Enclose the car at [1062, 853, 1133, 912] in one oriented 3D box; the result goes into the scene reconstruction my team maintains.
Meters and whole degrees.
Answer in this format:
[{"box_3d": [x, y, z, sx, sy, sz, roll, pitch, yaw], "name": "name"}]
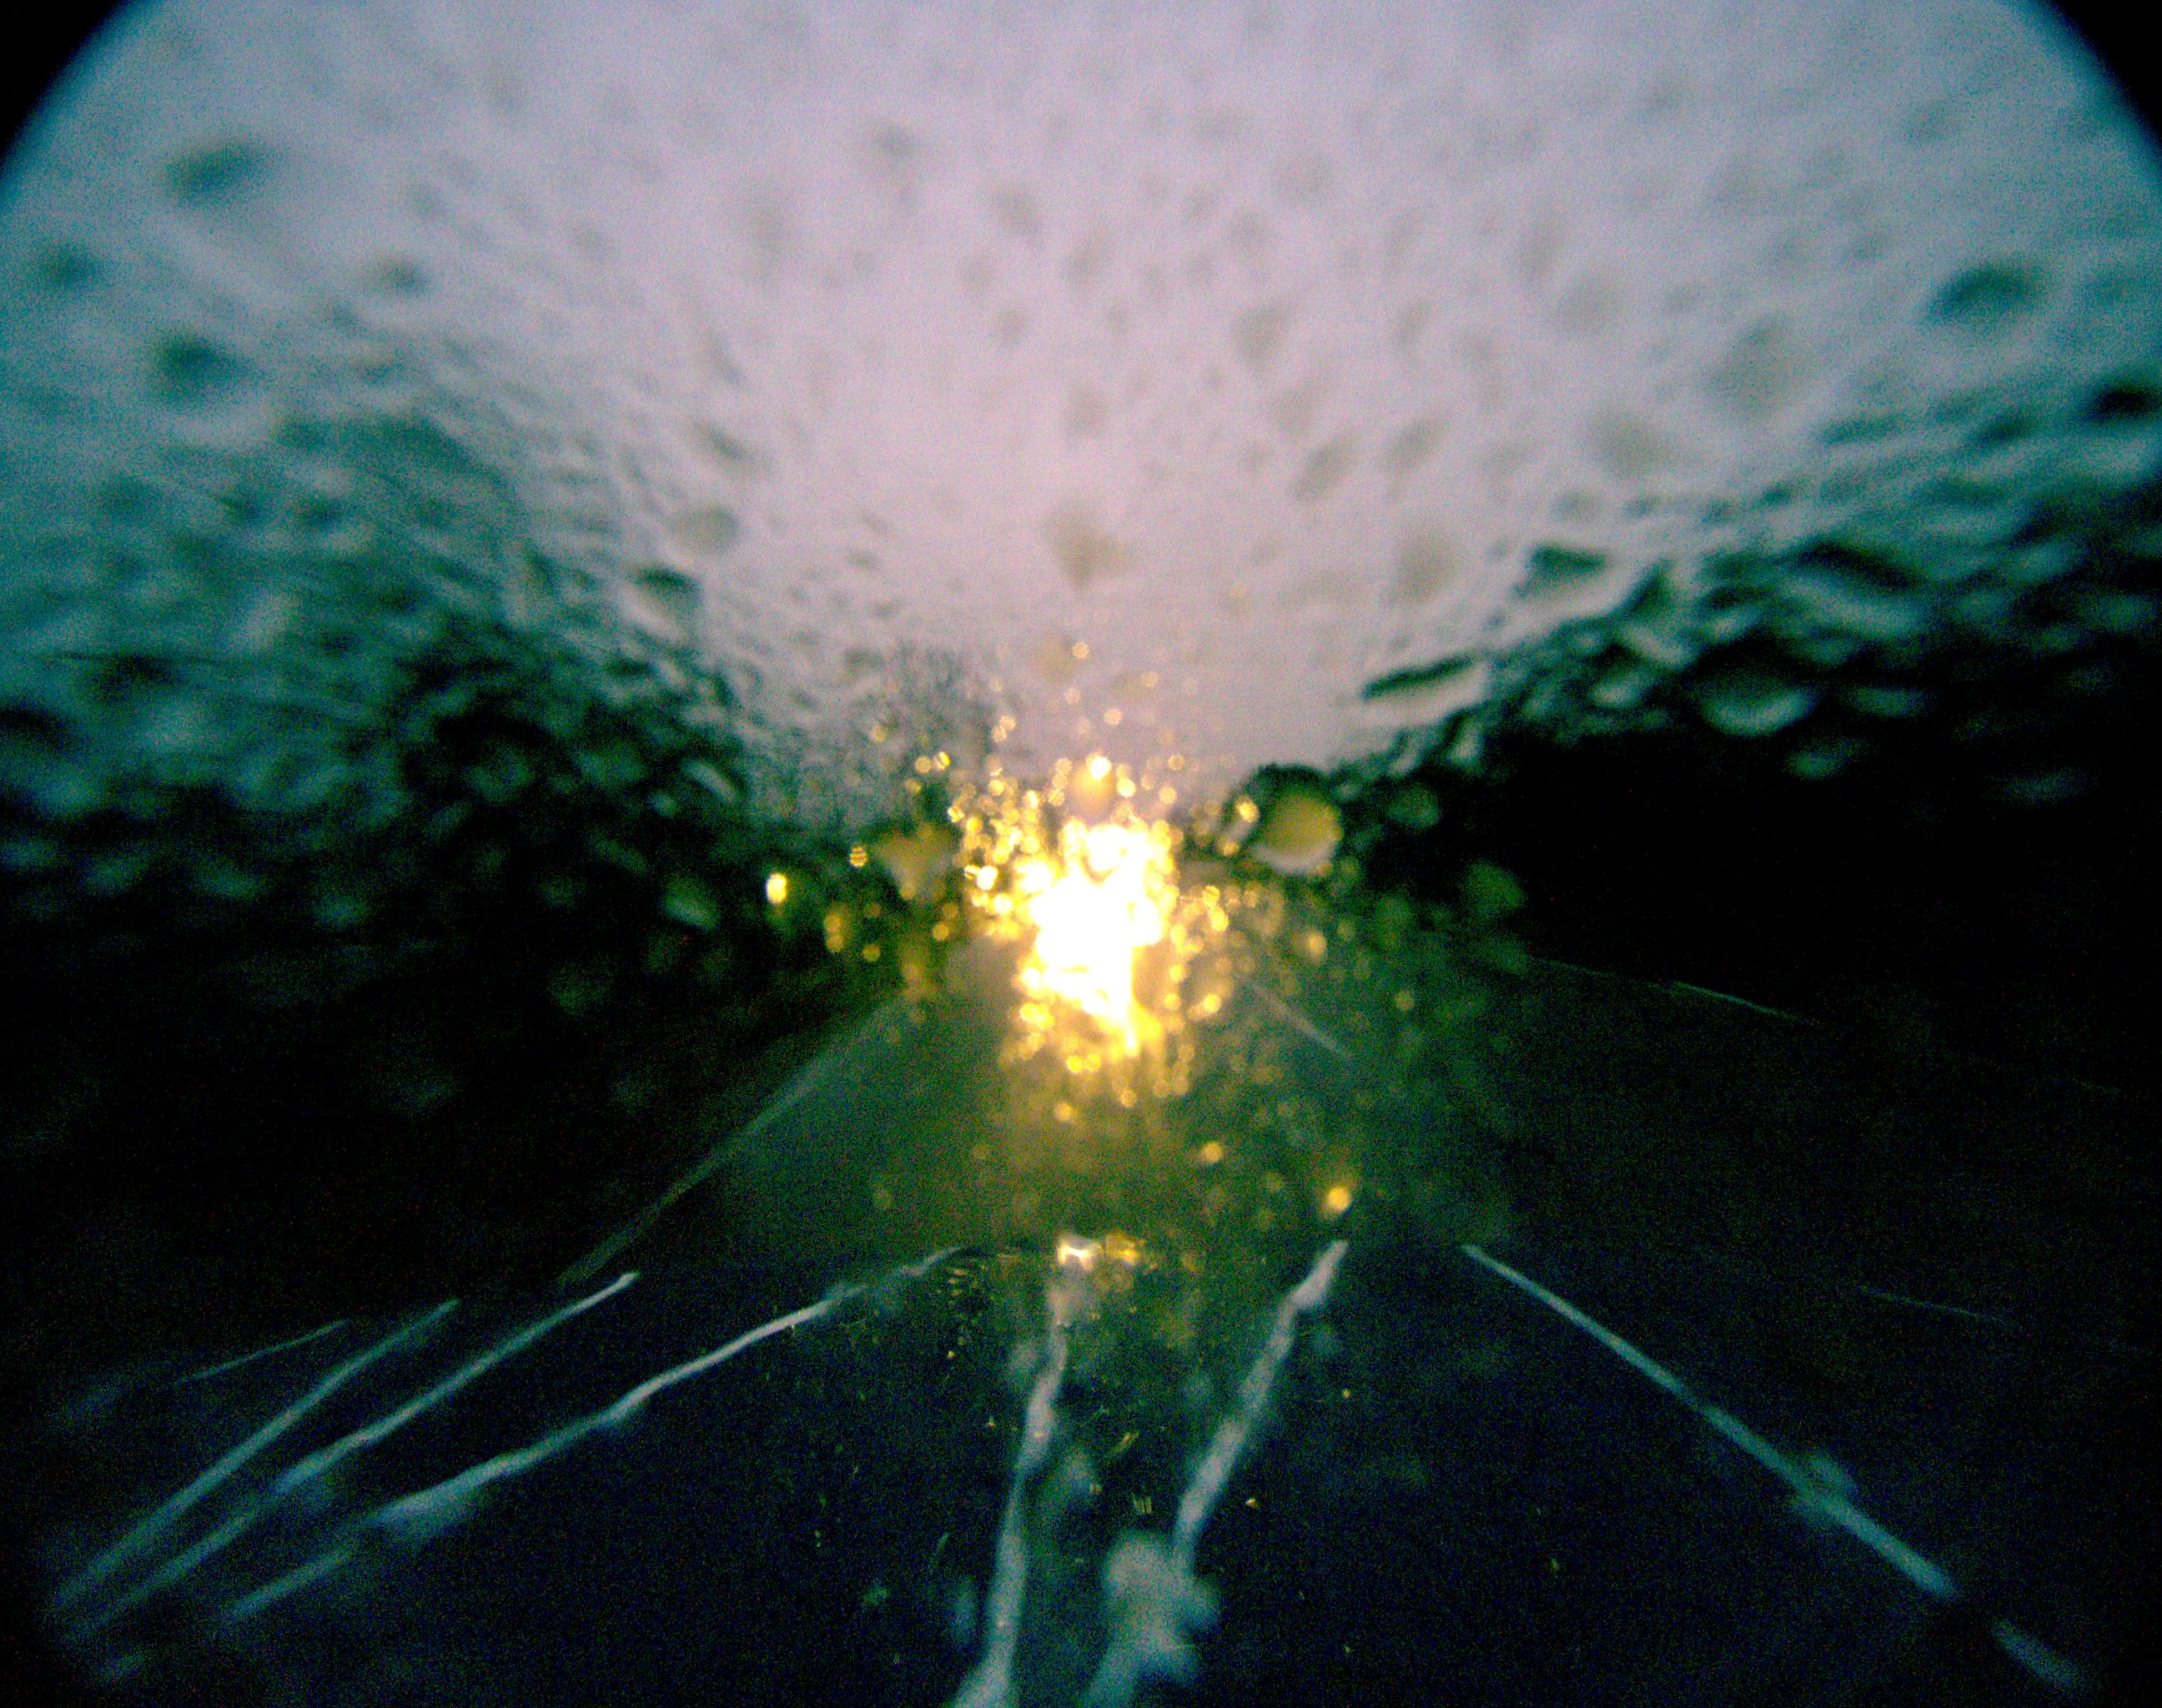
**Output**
[{"box_3d": [0.543, 0.835, 24.170, 1.998, 1.601, 4.000, -3, 1, 2], "name": "car"}]
